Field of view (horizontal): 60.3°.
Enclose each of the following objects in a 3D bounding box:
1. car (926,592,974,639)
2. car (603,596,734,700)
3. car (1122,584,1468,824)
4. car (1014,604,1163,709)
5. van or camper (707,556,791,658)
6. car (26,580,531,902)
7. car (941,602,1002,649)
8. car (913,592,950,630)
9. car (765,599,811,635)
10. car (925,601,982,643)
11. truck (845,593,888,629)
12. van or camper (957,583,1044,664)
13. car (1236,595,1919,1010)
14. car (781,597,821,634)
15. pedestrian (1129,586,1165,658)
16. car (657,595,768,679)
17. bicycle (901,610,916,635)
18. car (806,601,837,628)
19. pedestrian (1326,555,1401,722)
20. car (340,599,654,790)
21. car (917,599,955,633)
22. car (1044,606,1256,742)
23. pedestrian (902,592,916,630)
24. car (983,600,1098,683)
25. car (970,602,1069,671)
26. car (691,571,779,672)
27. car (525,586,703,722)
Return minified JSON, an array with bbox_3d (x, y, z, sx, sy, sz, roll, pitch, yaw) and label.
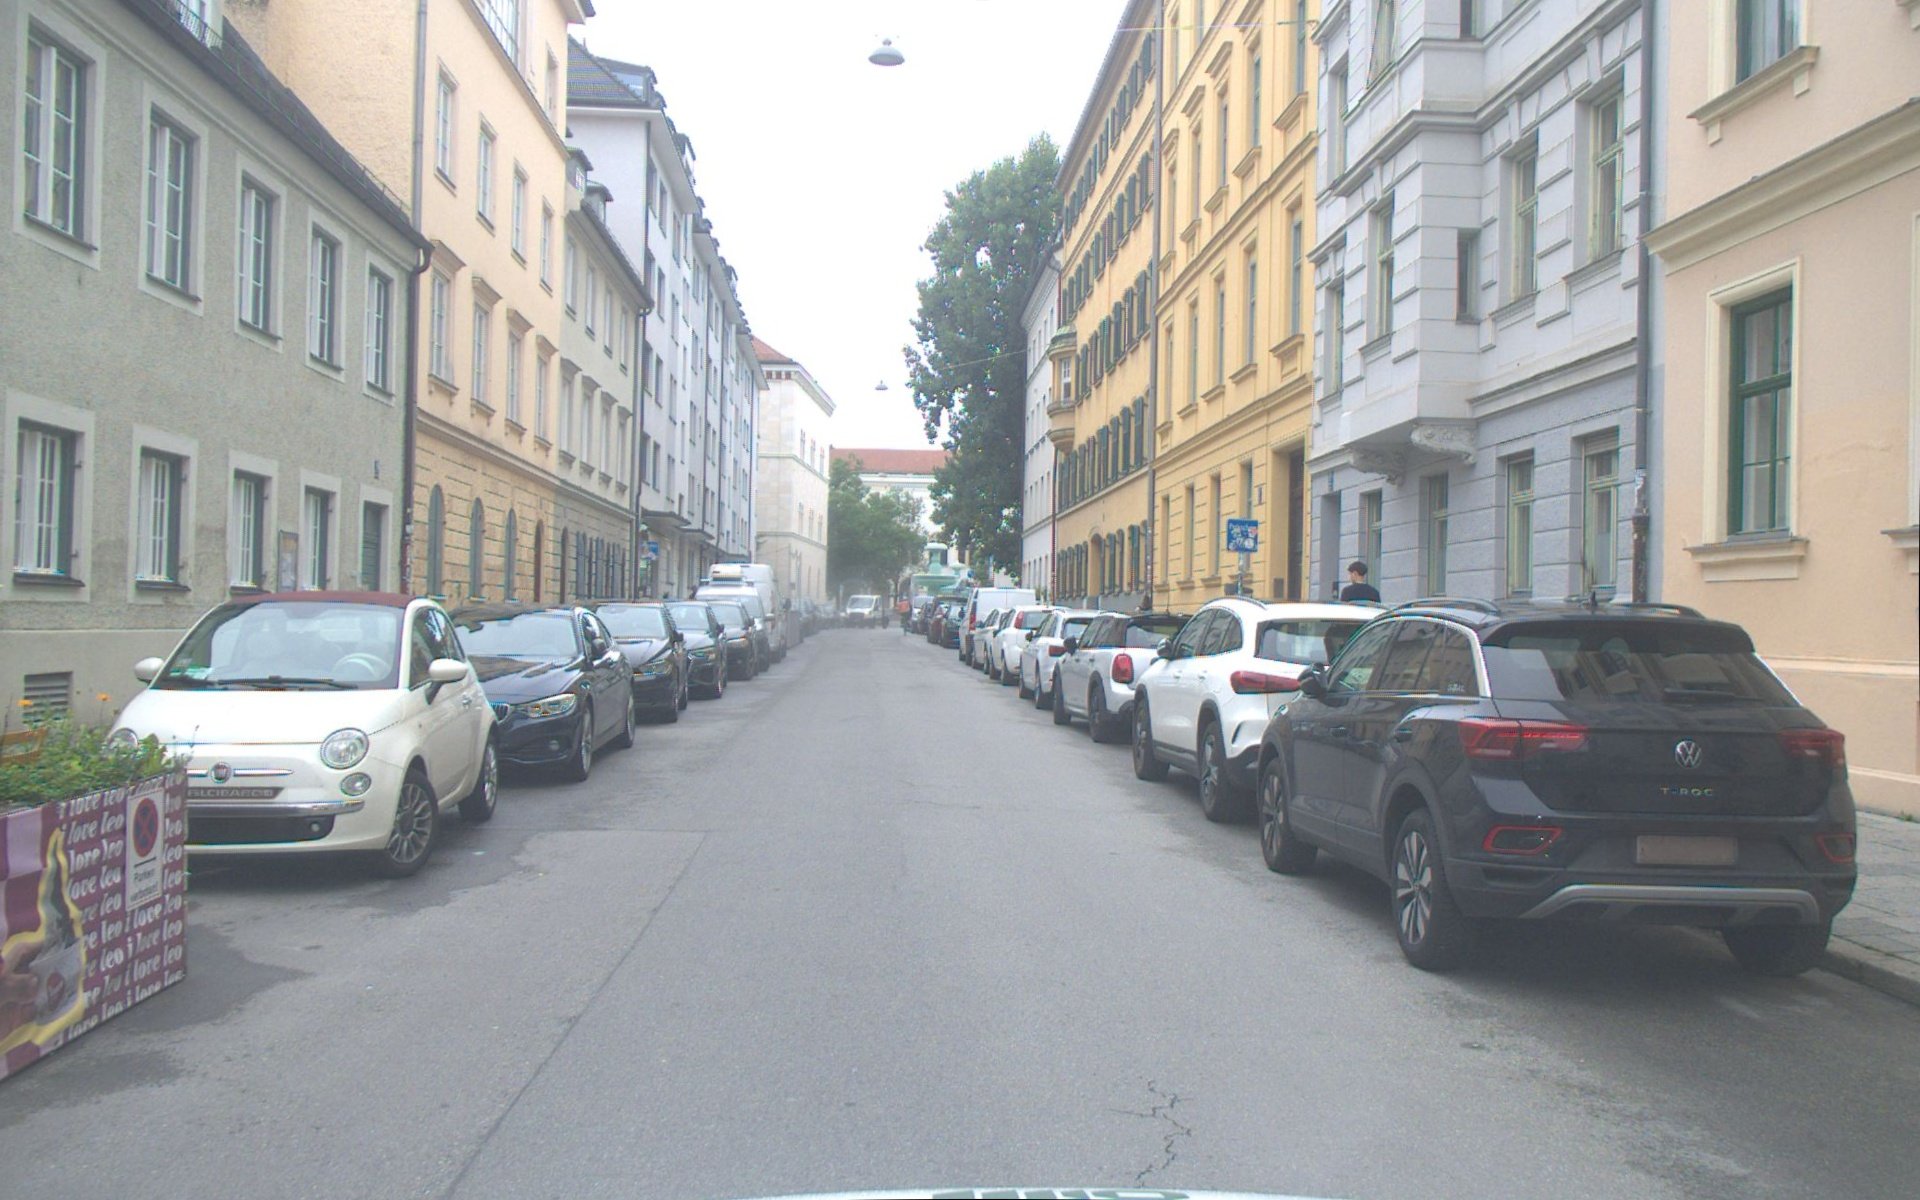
[{"bbox_3d":[-0.438,0.645,68.749,1.775,1.829,4.244,2,-1,-3],"label":"car"},{"bbox_3d":[-4.470,0.684,25.886,1.781,1.467,4.125,0,0,-7],"label":"car"},{"bbox_3d":[2.520,0.725,13.556,1.708,1.611,4.464,1,0,-3],"label":"car"},{"bbox_3d":[1.880,0.799,25.511,1.674,1.433,4.811,1,0,-3],"label":"car"},{"bbox_3d":[-5.192,0.177,41.235,1.720,2.321,5.269,1,0,-4],"label":"van or camper"},{"bbox_3d":[-3.722,0.683,9.751,1.721,1.501,3.709,2,0,-6],"label":"car"},{"bbox_3d":[0.353,0.857,56.994,1.776,1.490,4.243,2,-1,-3],"label":"car"},{"bbox_3d":[-1.563,0.600,88.494,1.815,1.953,4.766,1,-1,-3],"label":"car"},{"bbox_3d":[-7.231,0.721,69.675,1.782,1.470,3.815,0,0,-4],"label":"car"},{"bbox_3d":[-0.284,0.820,61.747,1.776,1.449,4.242,2,-1,-5],"label":"car"},{"bbox_3d":[-6.287,0.779,111.866,2.076,2.287,6.188,0,-1,4],"label":"truck"},{"bbox_3d":[0.967,0.566,41.912,1.797,1.904,5.076,1,0,-3],"label":"van or camper"},{"bbox_3d":[2.726,0.785,8.418,1.719,1.547,4.272,1,0,-3],"label":"car"},{"bbox_3d":[-7.221,0.694,75.273,1.673,1.637,3.859,0,0,-4],"label":"car"},{"bbox_3d":[4.216,0.501,37.348,0.647,1.599,0.642,-2,-1,-4],"label":"pedestrian"},{"bbox_3d":[-4.572,0.654,31.014,1.720,1.433,4.099,1,0,-4],"label":"car"},{"bbox_3d":[-2.384,1.045,76.507,0.662,1.114,1.759,1,-1,-2],"label":"bicycle"},{"bbox_3d":[-8.579,0.890,102.850,1.672,1.637,3.862,0,0,-1],"label":"car"},{"bbox_3d":[5.007,0.473,20.565,0.656,2.015,0.708,-2,-1,-3],"label":"pedestrian"},{"bbox_3d":[-3.900,0.711,14.756,1.763,1.362,4.681,1,0,-4],"label":"car"},{"bbox_3d":[-1.210,0.812,82.630,1.775,1.642,4.153,1,-1,-3],"label":"car"},{"bbox_3d":[2.155,0.805,19.872,1.675,1.429,4.202,1,0,-5],"label":"car"},{"bbox_3d":[-2.372,0.497,76.538,0.629,1.744,0.842,1,-2,-3],"label":"pedestrian"},{"bbox_3d":[1.498,0.767,32.136,1.675,1.480,4.092,1,0,-5],"label":"car"},{"bbox_3d":[1.256,0.779,36.834,1.675,1.417,4.202,1,0,-5],"label":"car"},{"bbox_3d":[-4.865,0.445,36.006,1.721,2.030,4.618,1,0,-7],"label":"car"},{"bbox_3d":[-4.245,0.625,20.875,1.721,1.522,4.195,1,0,-6],"label":"car"}]
